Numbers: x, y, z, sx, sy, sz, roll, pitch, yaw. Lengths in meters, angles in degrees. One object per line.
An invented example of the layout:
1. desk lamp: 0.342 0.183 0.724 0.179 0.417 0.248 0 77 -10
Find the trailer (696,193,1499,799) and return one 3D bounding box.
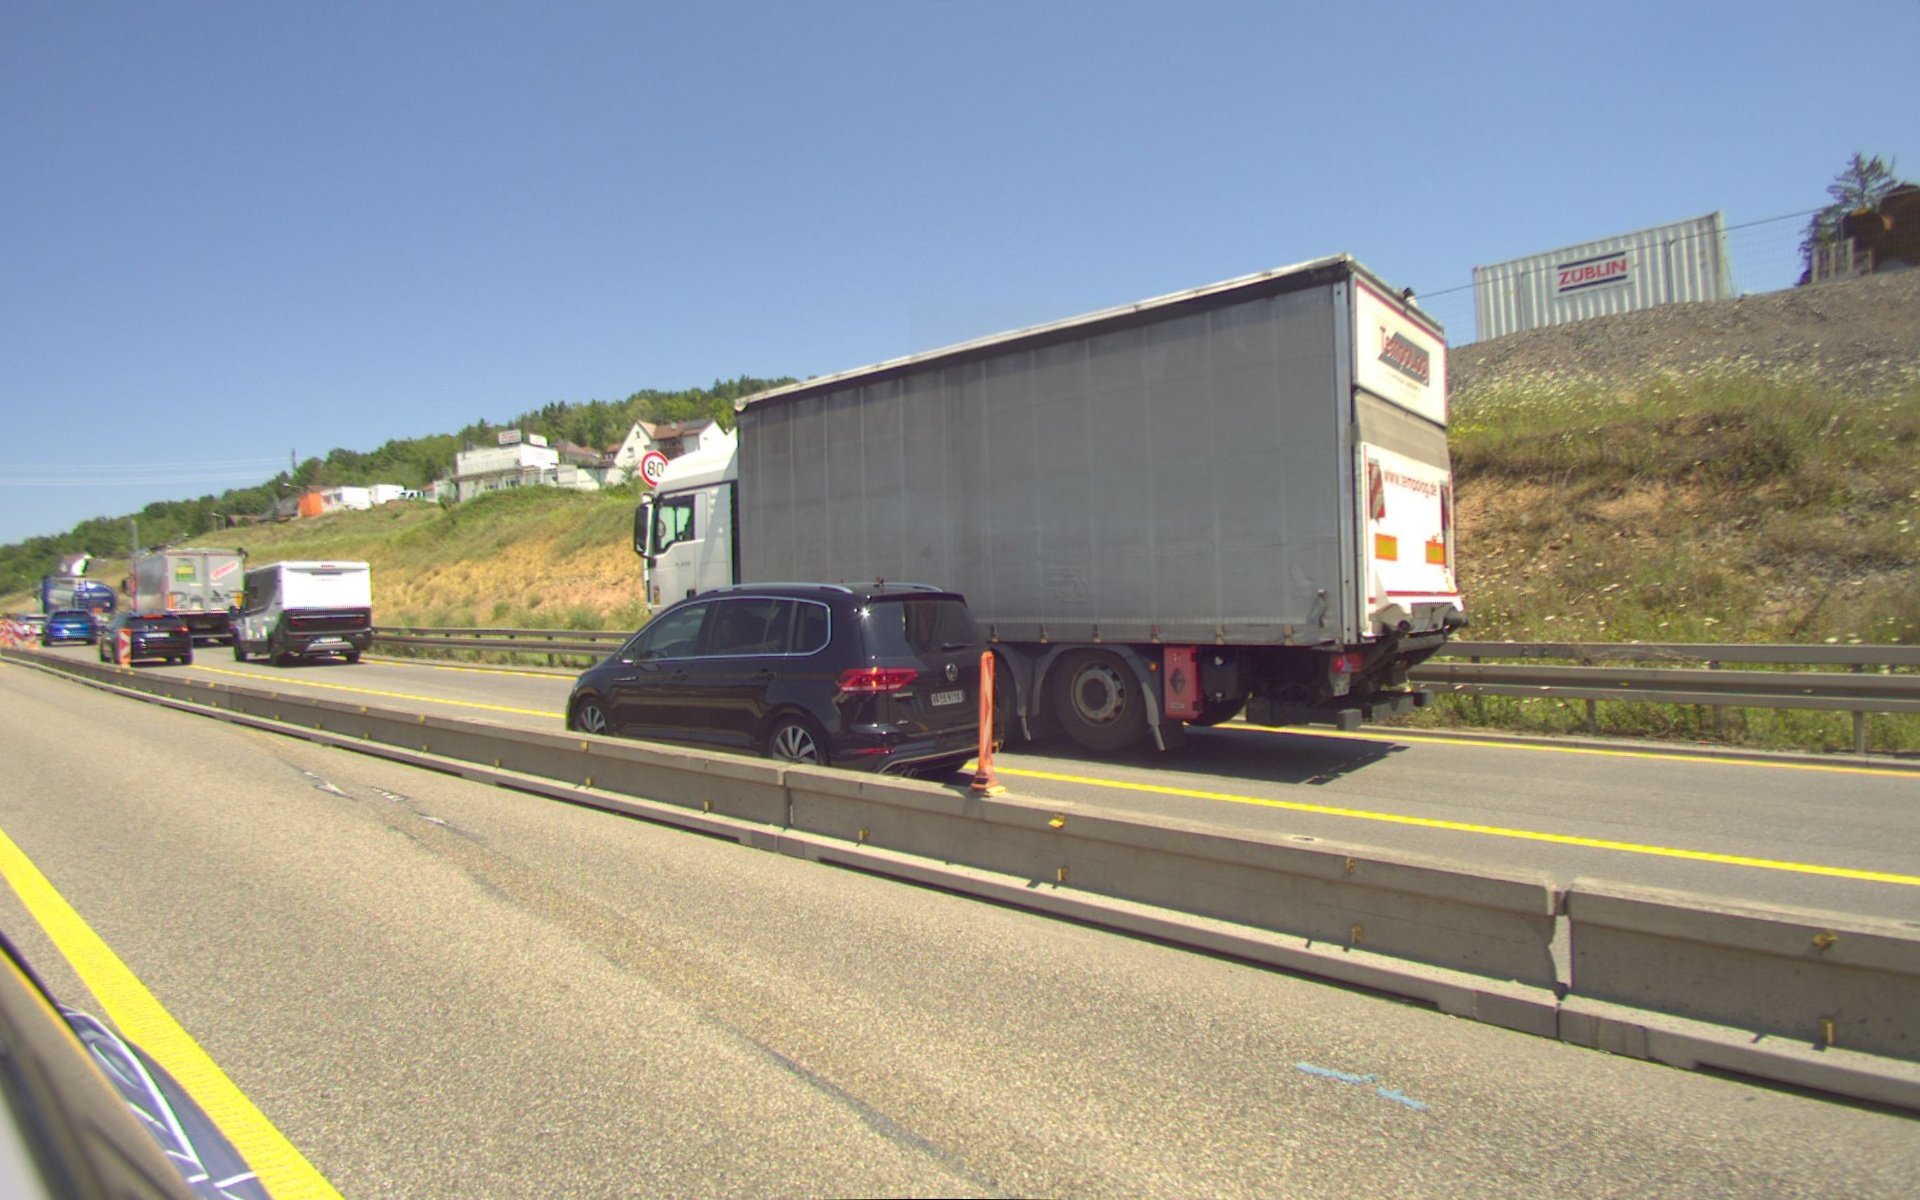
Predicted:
1. trailer: 0.838 -0.720 10.755 8.237 4.205 2.784 0 0 40

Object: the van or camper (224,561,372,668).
1. van or camper: -18.847 0.407 28.632 6.456 2.725 2.100 -1 -1 44

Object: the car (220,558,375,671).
1. car: -18.850 0.357 28.627 6.560 2.842 2.250 0 1 44

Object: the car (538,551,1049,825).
1. car: -1.647 0.583 8.744 4.606 1.769 1.836 -1 0 41

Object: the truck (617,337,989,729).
1. truck: -2.083 -0.724 13.184 4.070 4.181 2.770 0 0 40

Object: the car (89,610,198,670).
1. car: -23.060 1.109 28.528 4.185 1.529 1.735 -2 -1 42

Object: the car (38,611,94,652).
1. car: -40.156 1.356 45.463 1.811 1.676 4.691 -1 1 -42

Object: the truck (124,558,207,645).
1. truck: -37.287 0.060 47.422 2.554 3.857 5.386 -1 1 -43

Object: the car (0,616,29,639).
1. car: -66.618 1.932 70.971 1.812 1.530 4.846 -1 0 -44

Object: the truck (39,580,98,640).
1. truck: -61.700 0.659 70.054 4.588 4.006 2.555 0 0 42

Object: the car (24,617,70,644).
1. car: -52.228 1.730 57.883 1.812 1.440 4.538 -1 0 -44

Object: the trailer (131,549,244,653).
1. trailer: -32.646 0.027 42.521 2.624 3.844 11.833 -1 1 -43

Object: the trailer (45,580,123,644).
1. trailer: -57.080 0.717 65.800 11.273 3.899 2.572 0 1 43
